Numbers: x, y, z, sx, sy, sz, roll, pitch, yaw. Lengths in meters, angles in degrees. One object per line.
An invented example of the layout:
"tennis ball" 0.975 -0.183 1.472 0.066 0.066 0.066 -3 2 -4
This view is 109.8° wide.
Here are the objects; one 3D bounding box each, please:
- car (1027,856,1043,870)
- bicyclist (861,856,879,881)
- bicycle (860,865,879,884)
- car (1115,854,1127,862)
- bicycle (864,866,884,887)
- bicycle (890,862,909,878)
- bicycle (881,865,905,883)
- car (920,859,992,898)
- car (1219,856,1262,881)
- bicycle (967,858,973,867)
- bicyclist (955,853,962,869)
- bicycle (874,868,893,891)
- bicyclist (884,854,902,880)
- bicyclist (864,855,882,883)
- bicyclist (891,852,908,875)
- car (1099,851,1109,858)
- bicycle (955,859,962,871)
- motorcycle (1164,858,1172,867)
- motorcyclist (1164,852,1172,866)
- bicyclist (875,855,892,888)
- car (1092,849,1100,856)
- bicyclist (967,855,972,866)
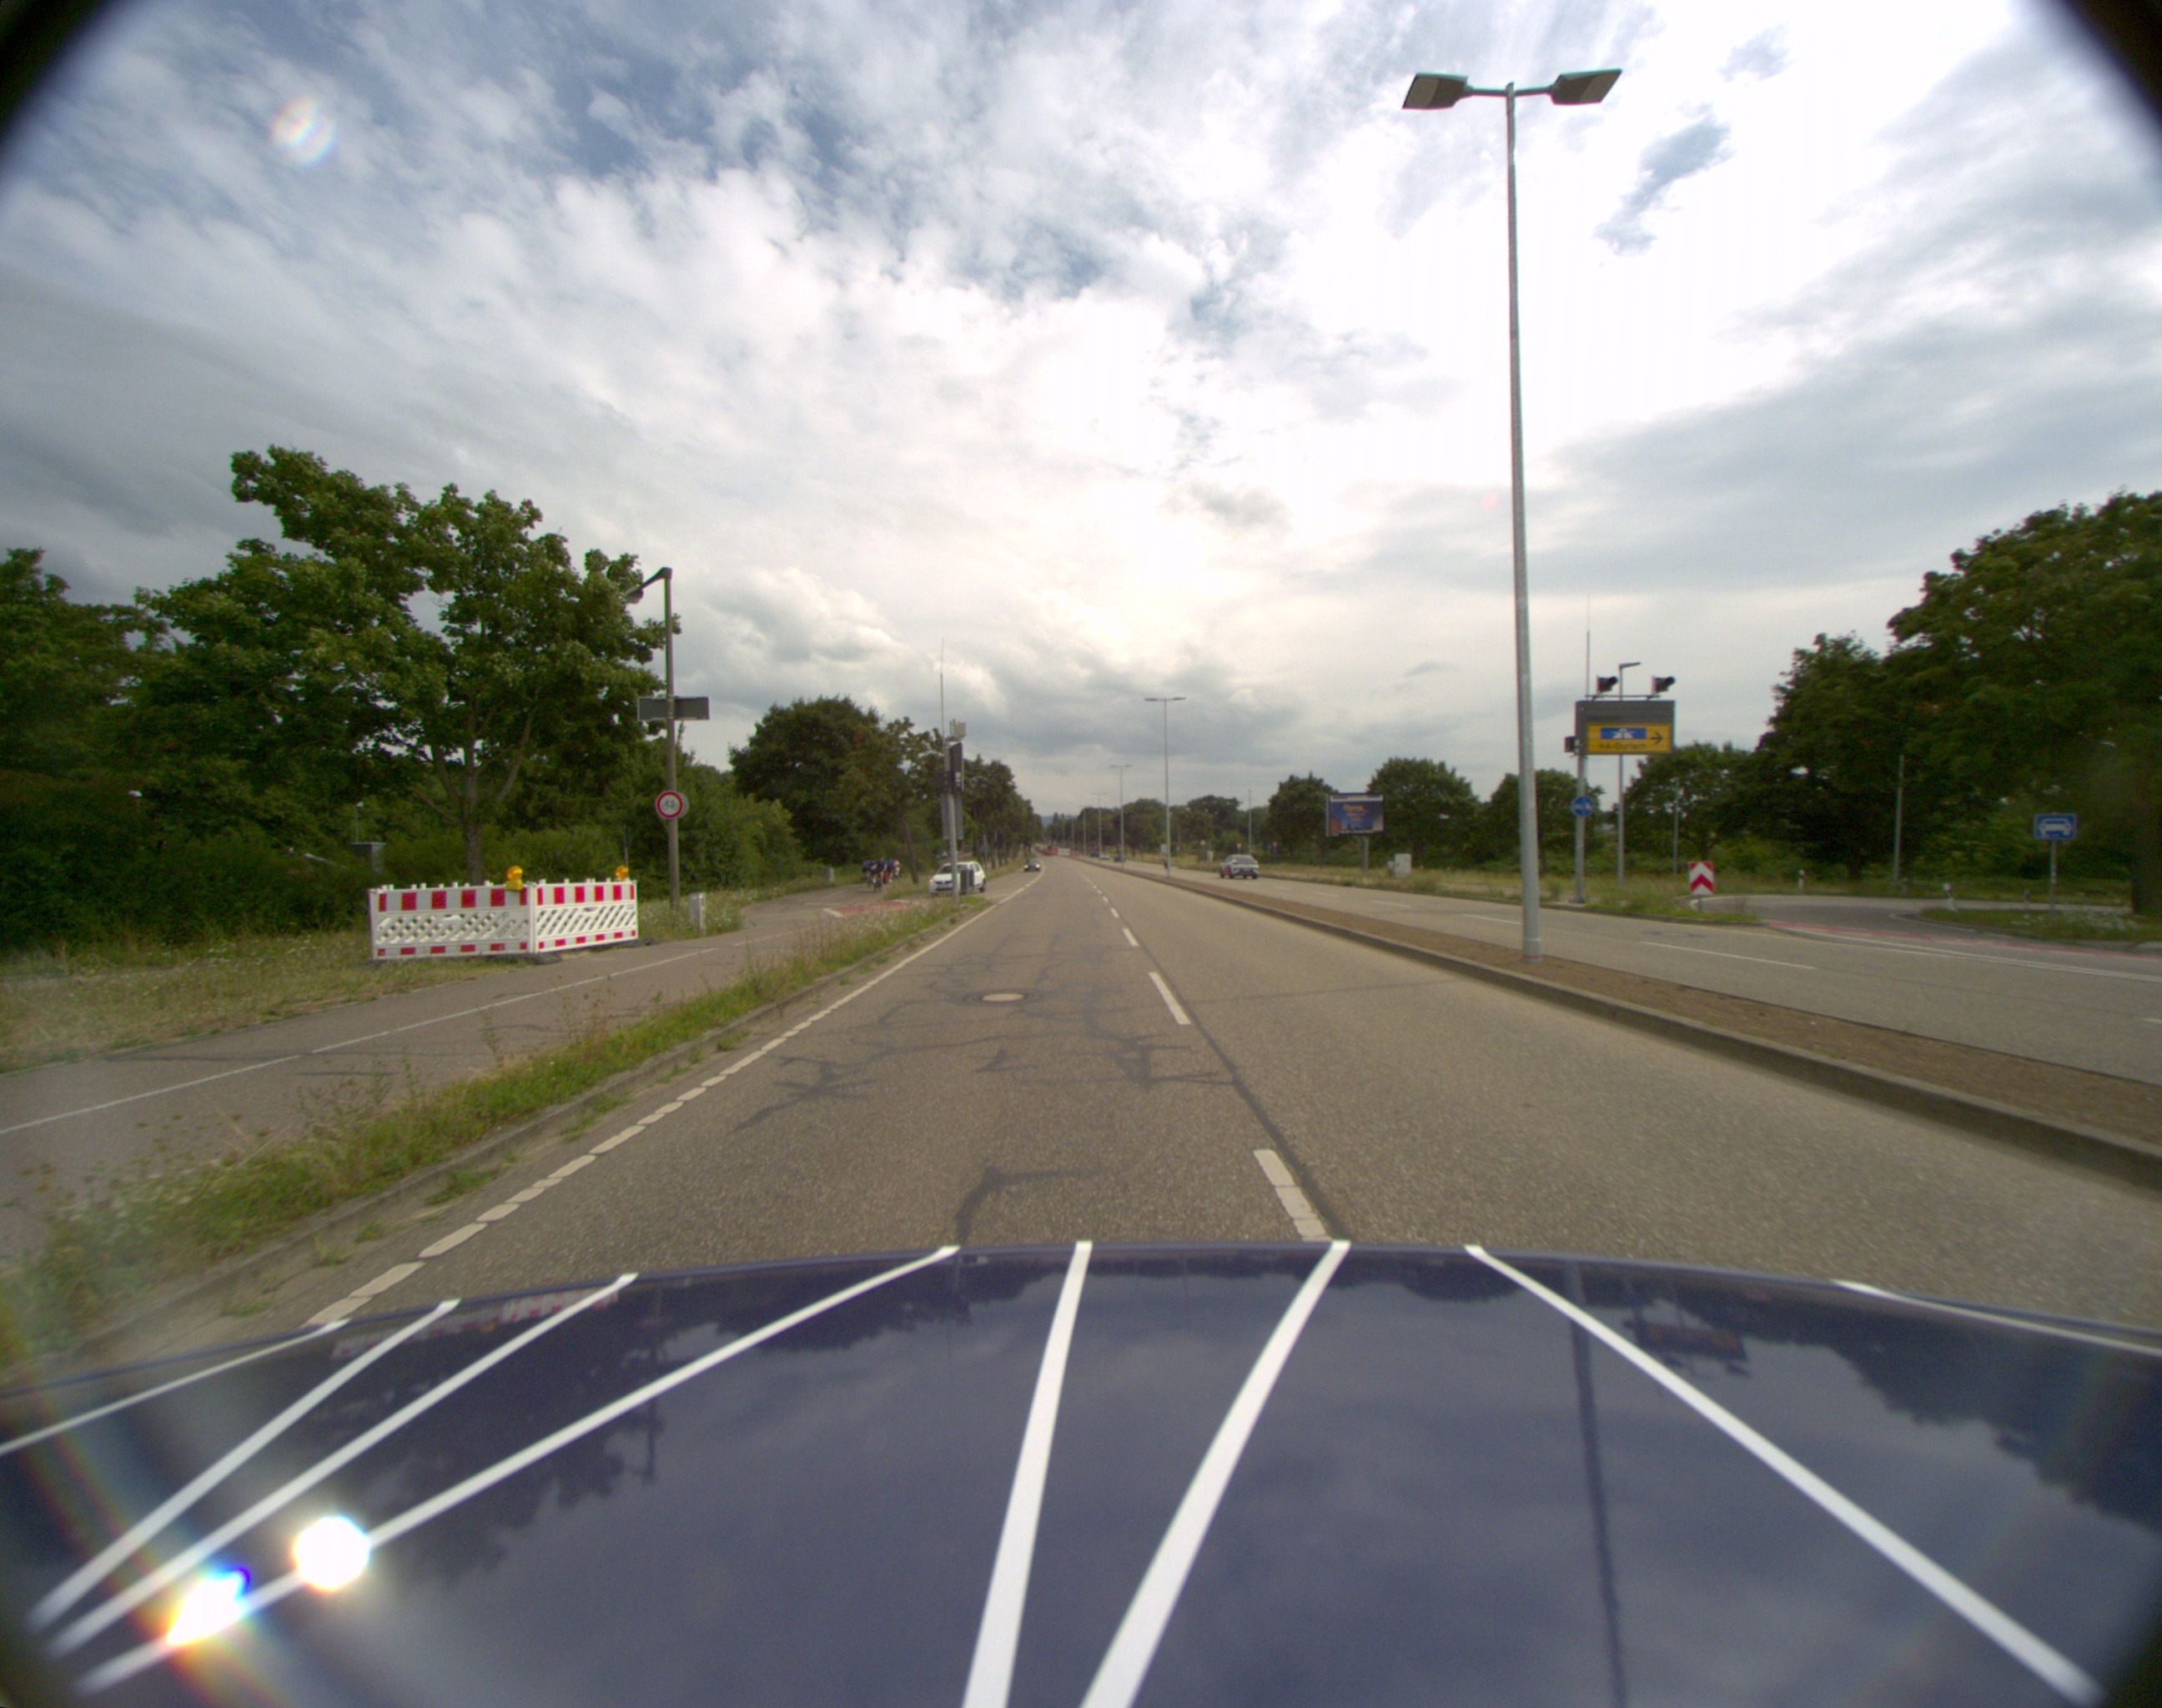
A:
"car" -5.155 0.970 84.935 1.773 1.439 4.322 -1 0 -4
"bicyclist" -12.625 0.852 45.395 0.743 1.478 0.958 -2 1 1
"bicycle" -12.621 1.208 45.392 0.621 1.000 1.787 1 3 2
"car" 7.349 0.725 140.781 1.773 1.523 4.739 0 1 -3
"bicycle" -11.500 1.248 42.259 0.621 1.000 2.101 1 2 -2
"bicycle" -11.599 1.011 48.672 0.621 1.000 1.788 1 1 6
"bicycle" -11.311 1.205 45.791 0.596 1.030 2.196 -1 0 8
"car" -5.732 1.102 35.343 1.850 1.493 4.003 -3 1 13
"car" 10.721 0.916 51.299 1.852 1.592 4.560 0 0 -1
"bicycle" -13.140 1.015 89.744 0.515 0.958 1.781 0 1 -3
"bicyclist" -12.747 0.749 79.041 0.653 1.648 0.780 -2 1 -3
"bicycle" -10.127 1.305 39.069 0.575 1.141 1.981 0 0 -3
"bicyclist" -11.329 0.756 45.796 0.742 1.509 0.958 -2 1 7
"bicyclist" -11.504 0.813 42.049 0.743 1.509 0.958 -2 1 -3
"bicyclist" -11.610 0.603 48.555 0.742 1.465 0.806 -2 1 6
"car" 5.034 0.086 164.818 1.773 1.644 4.637 1 0 -3
"bicycle" -12.715 1.132 78.933 0.515 1.141 2.231 0 1 -3
"motorcycle" 9.915 0.992 86.666 0.524 0.961 2.219 0 0 -1
"motorcyclist" 9.904 0.603 86.637 0.772 1.579 0.896 0 0 -2
"bicyclist" -10.157 0.892 39.097 0.653 1.648 0.876 -2 1 -4
"car" 3.774 -0.324 191.110 1.852 1.644 4.562 0 1 -3
"bicyclist" -13.143 0.742 89.709 0.540 1.275 0.449 -2 1 -3
